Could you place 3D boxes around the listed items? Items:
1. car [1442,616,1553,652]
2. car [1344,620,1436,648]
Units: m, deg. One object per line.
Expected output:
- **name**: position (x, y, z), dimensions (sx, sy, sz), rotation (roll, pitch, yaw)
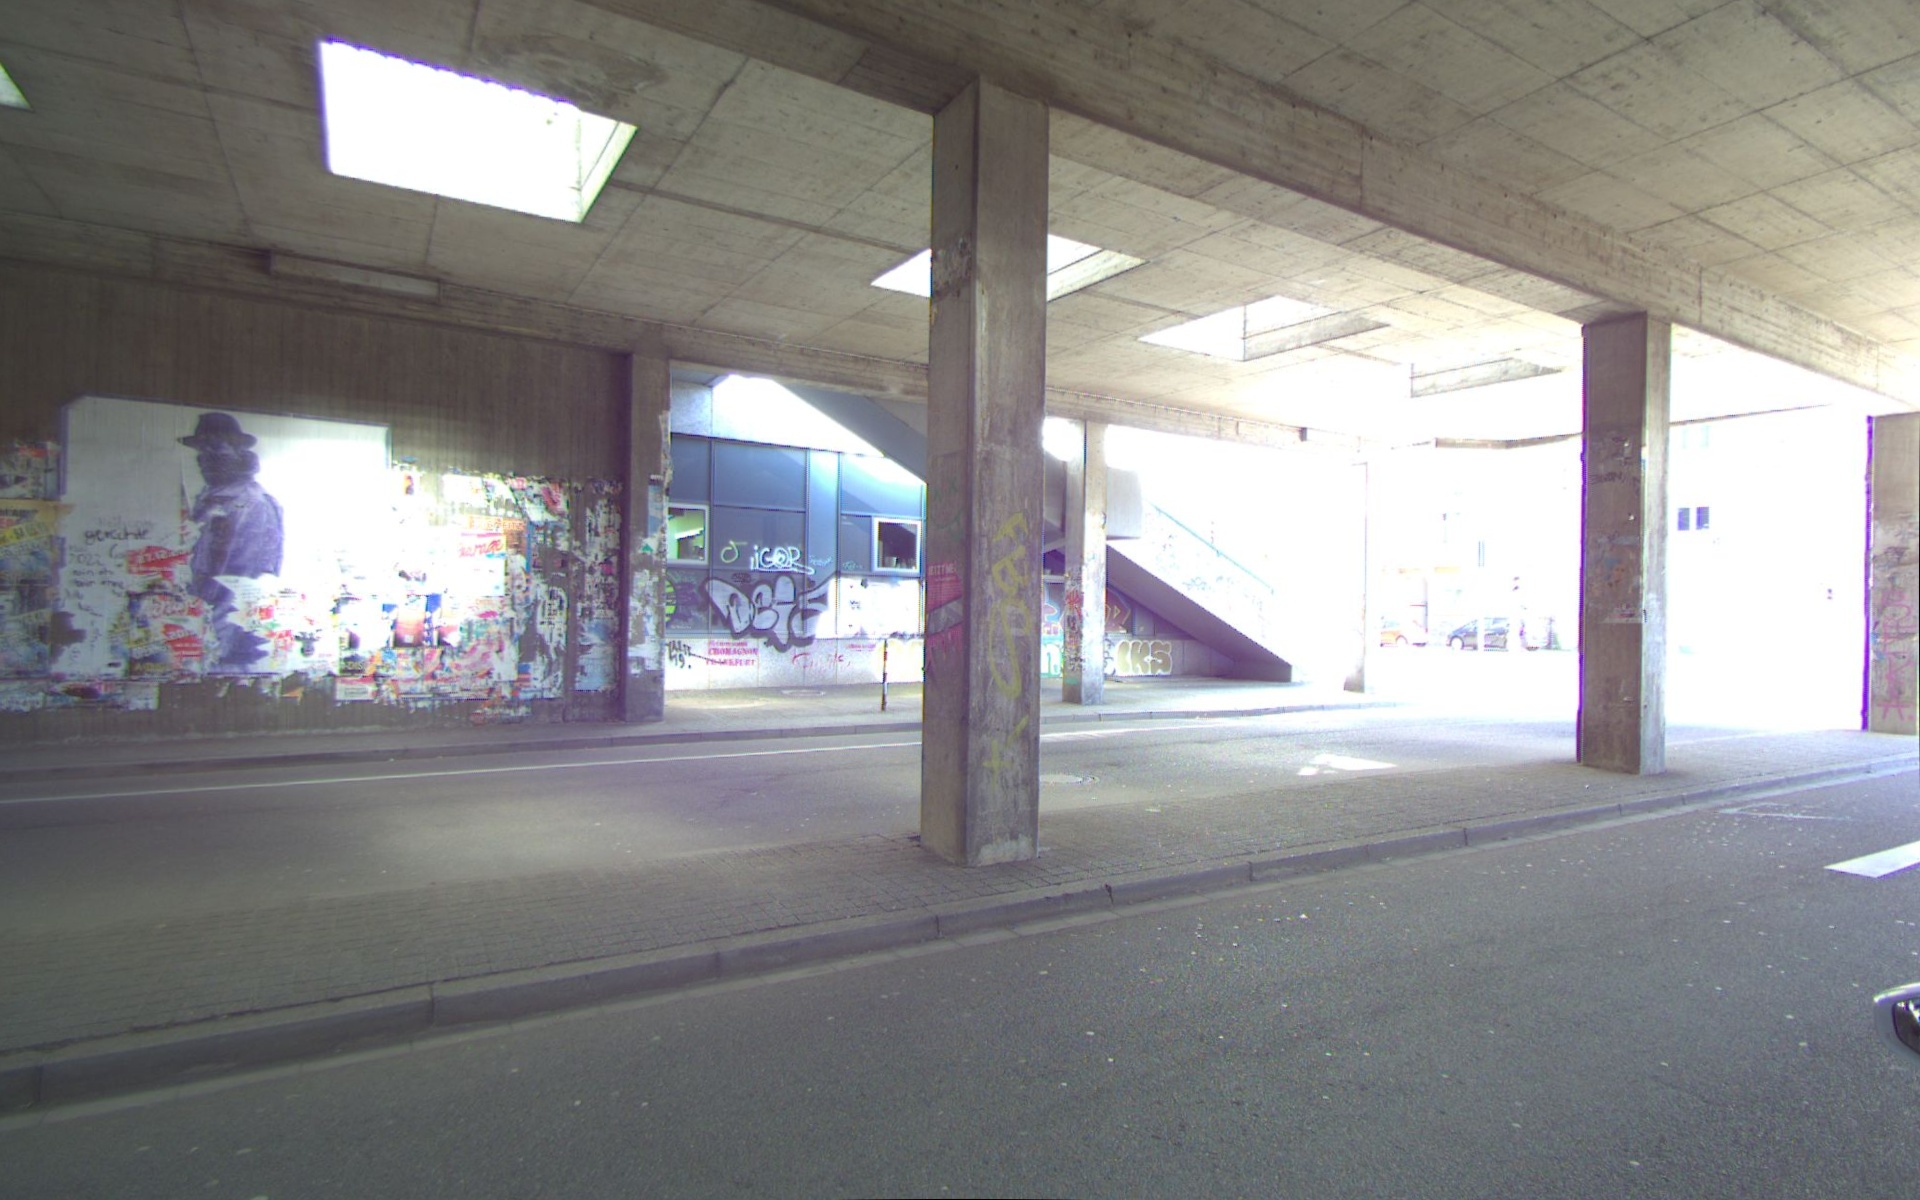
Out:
- **car**: position (25.428, 1.577, 47.662), dimensions (2.240, 1.571, 4.111), rotation (1, -1, -29)
- **car**: position (22.508, 1.766, 52.674), dimensions (2.163, 1.392, 3.971), rotation (1, -1, -28)
